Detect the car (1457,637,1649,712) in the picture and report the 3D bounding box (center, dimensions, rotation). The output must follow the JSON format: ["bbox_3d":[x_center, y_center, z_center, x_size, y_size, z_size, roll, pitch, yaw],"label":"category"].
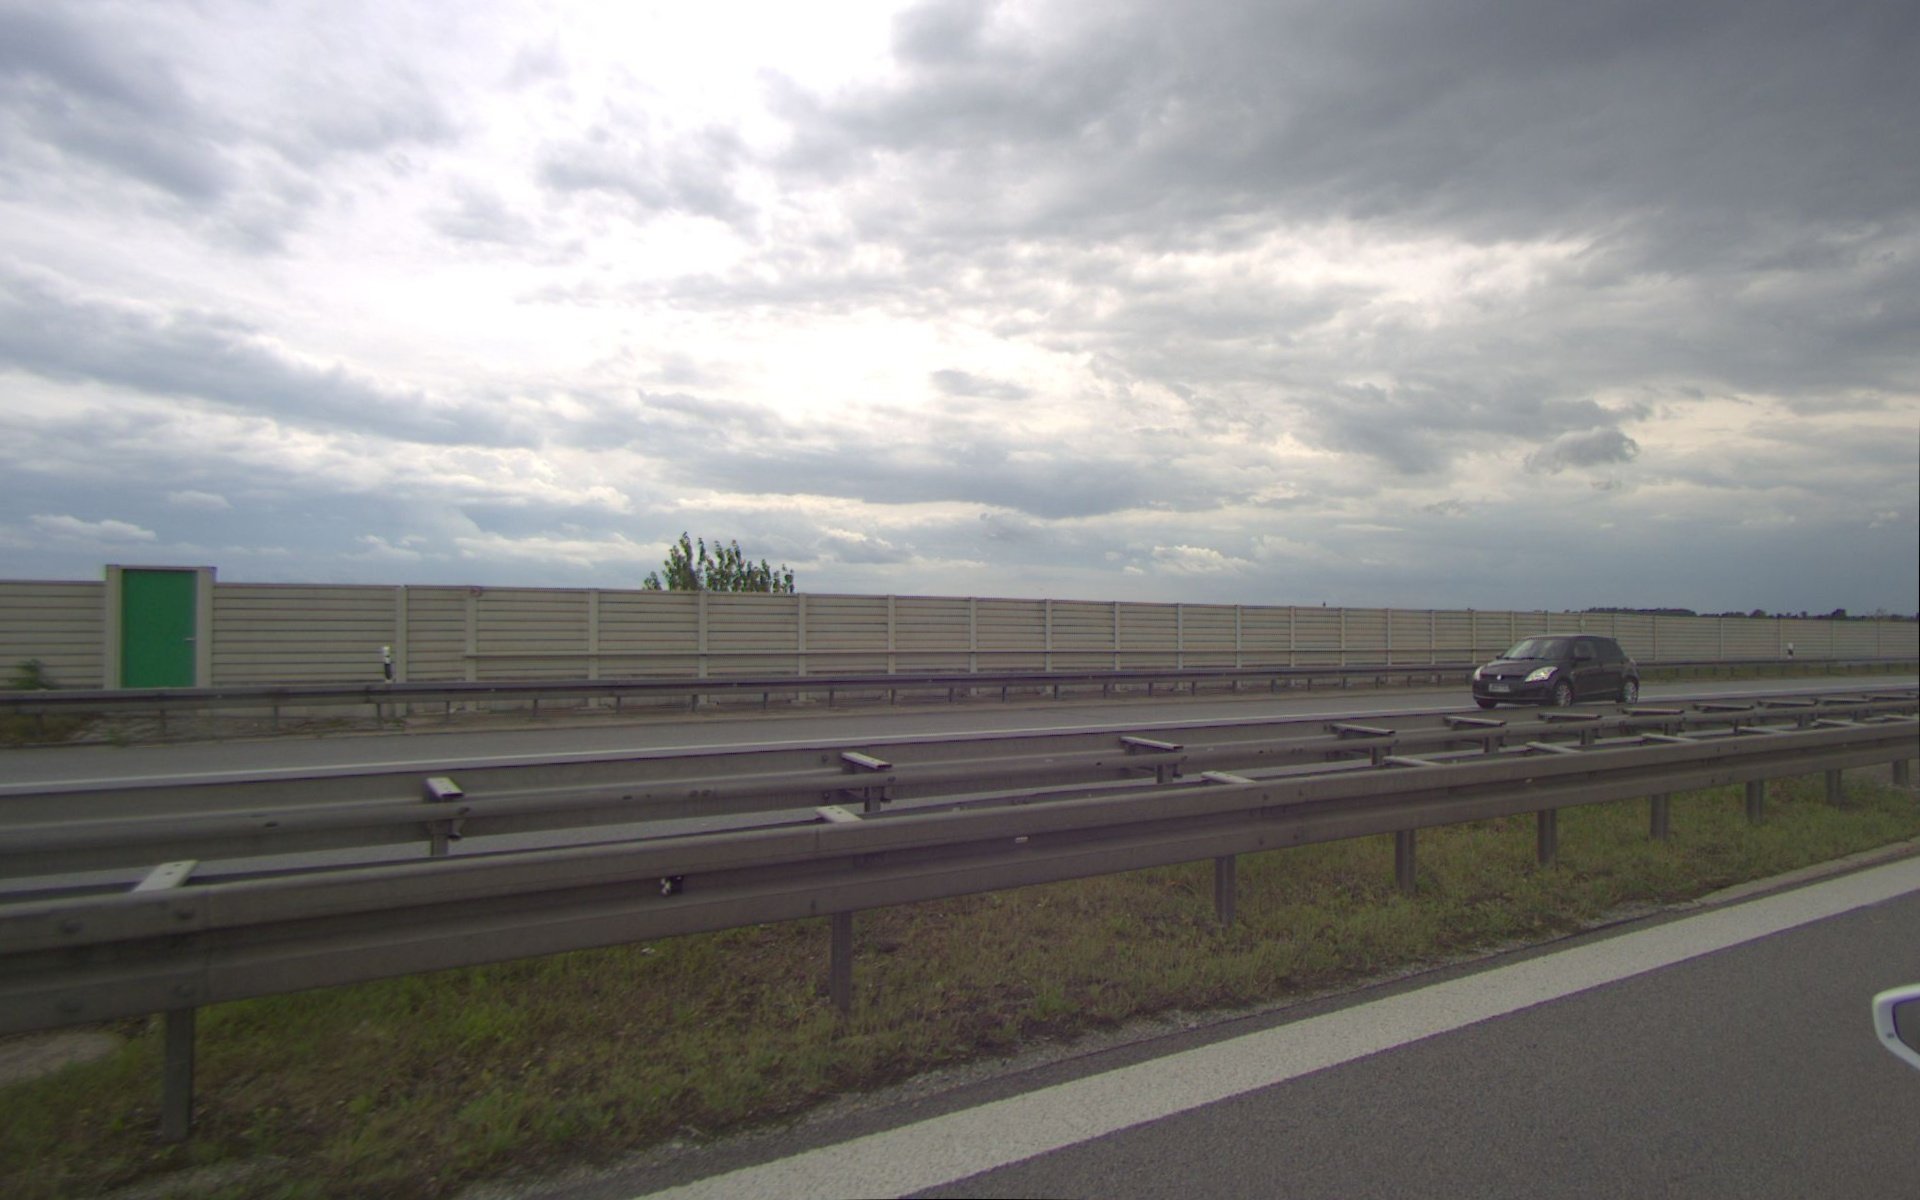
[{"bbox_3d":[12.128,1.461,20.502,3.953,1.404,1.663,1,-3,-30],"label":"car"}]
